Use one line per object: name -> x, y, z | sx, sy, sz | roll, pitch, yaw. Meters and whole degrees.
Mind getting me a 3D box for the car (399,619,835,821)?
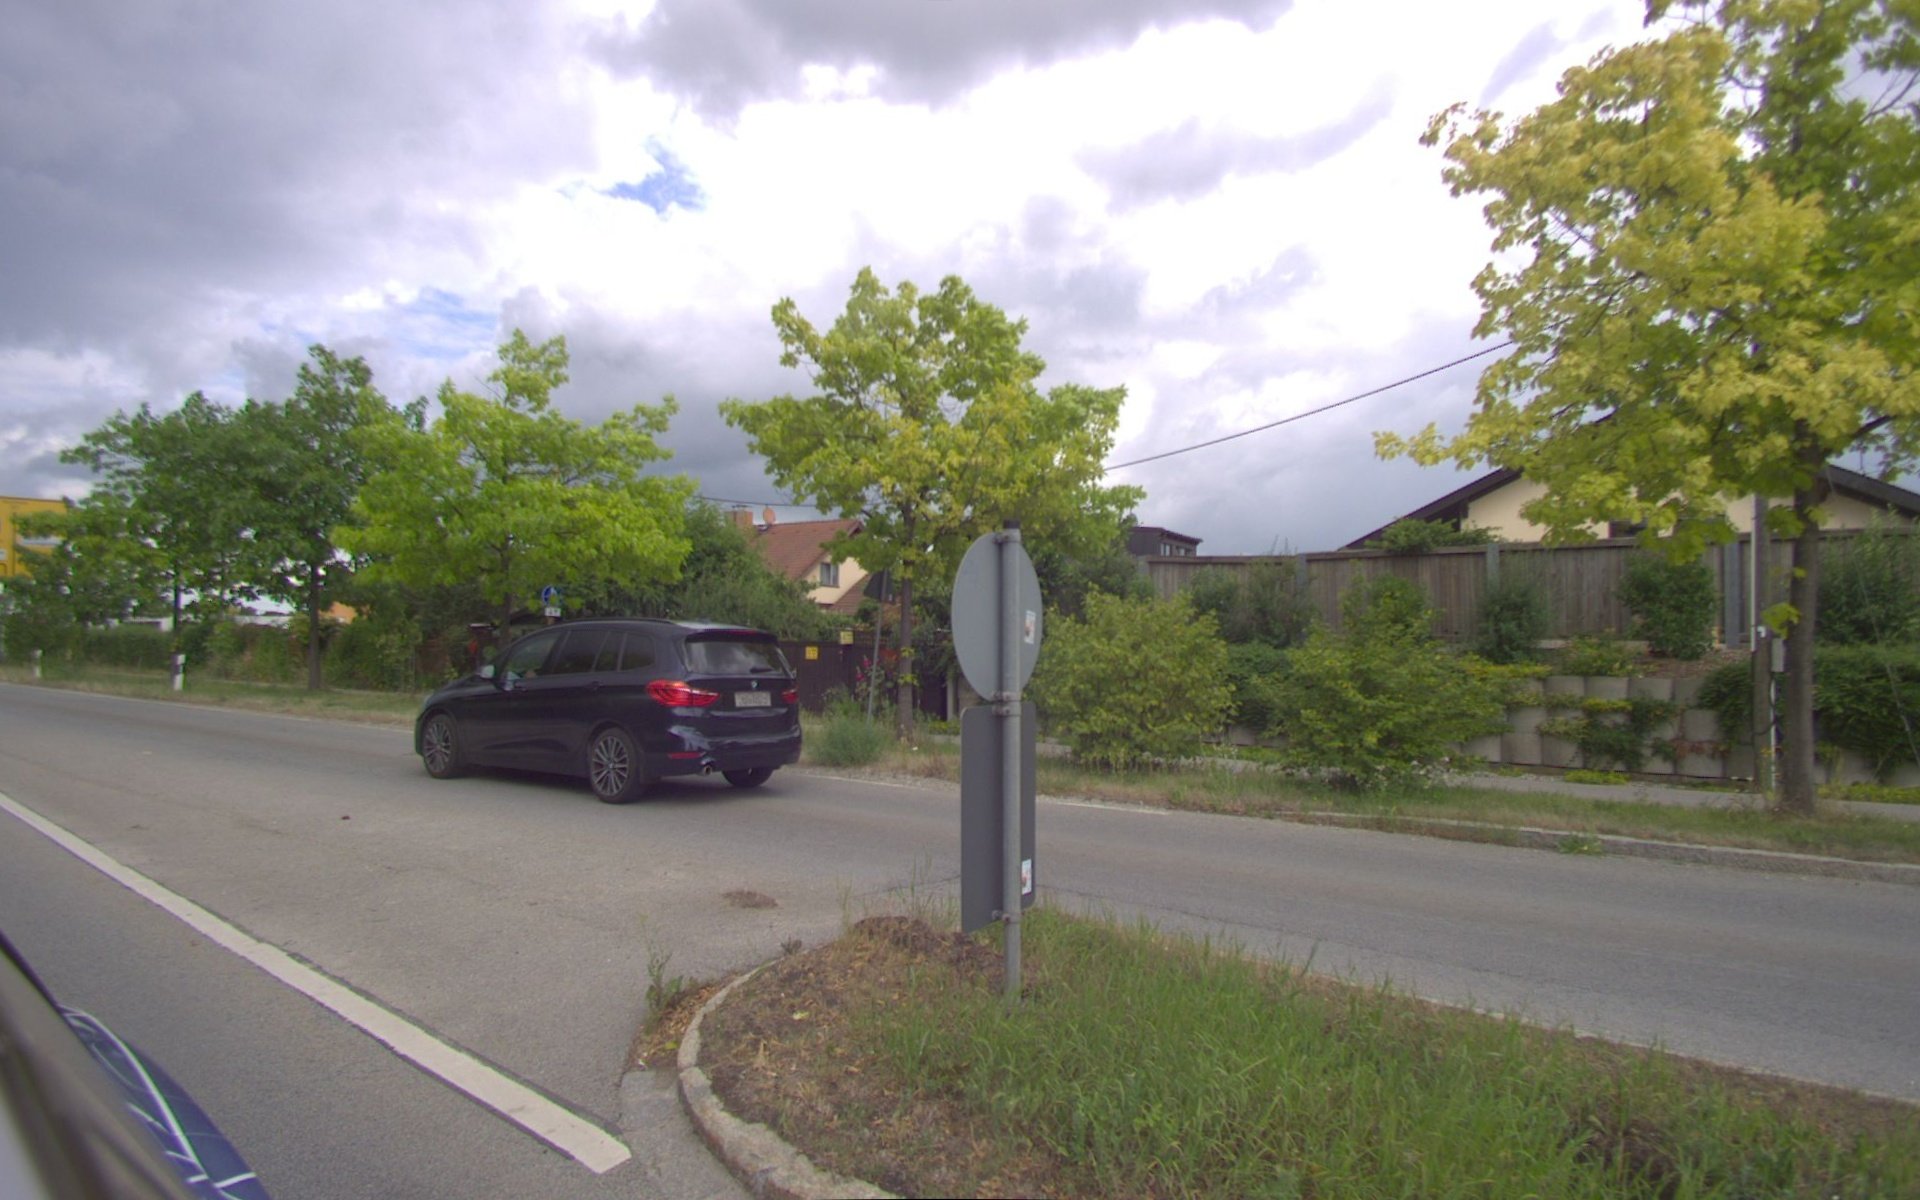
car -> -3.464, 1.053, 9.961 | 4.343, 1.598, 1.724 | -2, -4, 33
